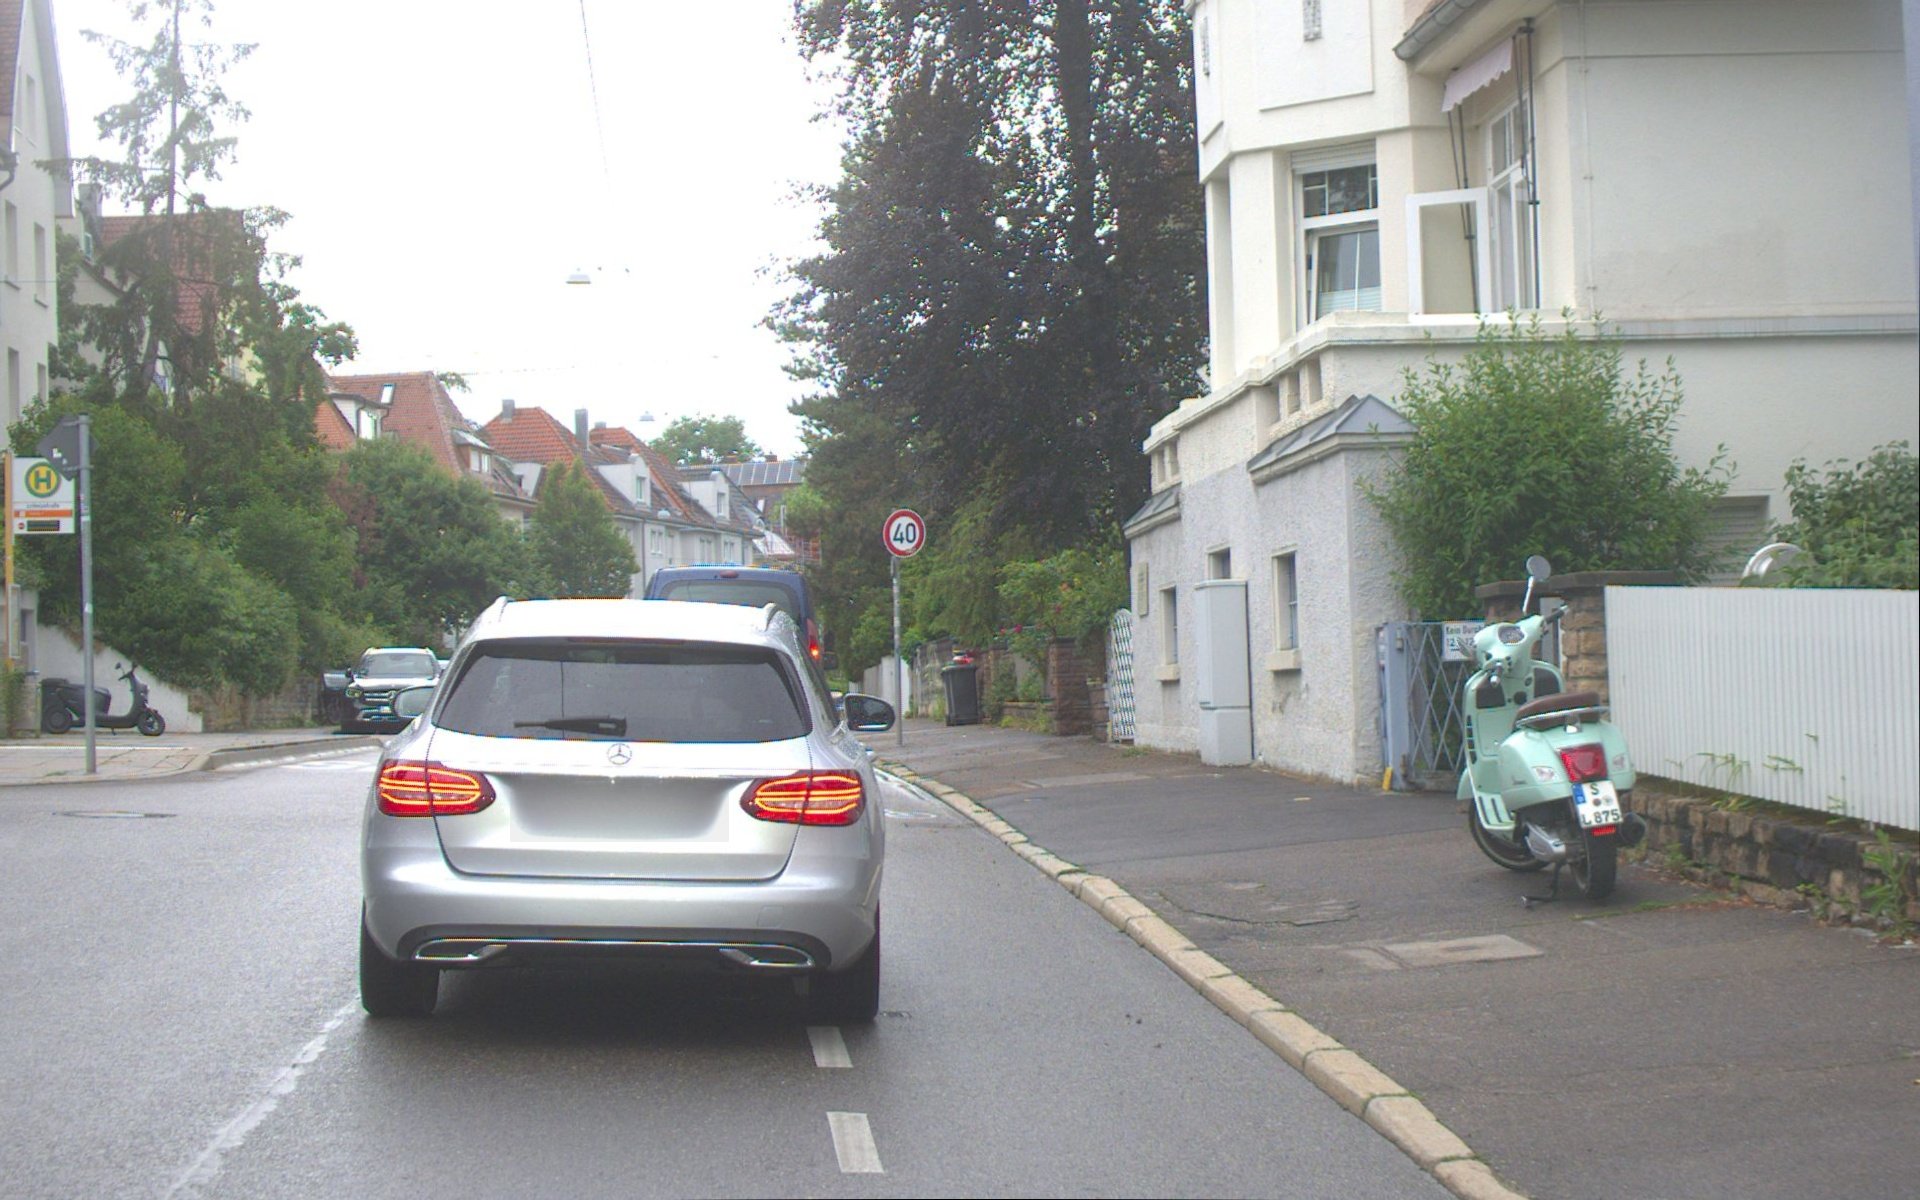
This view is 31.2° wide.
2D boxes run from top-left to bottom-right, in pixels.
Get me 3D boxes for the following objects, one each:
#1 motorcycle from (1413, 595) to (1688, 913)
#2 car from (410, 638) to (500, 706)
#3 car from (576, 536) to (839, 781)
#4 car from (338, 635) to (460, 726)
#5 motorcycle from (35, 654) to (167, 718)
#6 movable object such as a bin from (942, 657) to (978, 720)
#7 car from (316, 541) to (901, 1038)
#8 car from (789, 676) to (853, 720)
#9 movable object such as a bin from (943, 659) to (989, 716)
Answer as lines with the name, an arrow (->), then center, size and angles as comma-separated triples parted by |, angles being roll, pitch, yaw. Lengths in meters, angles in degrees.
motorcycle -> 2.549, 0.628, 15.099 | 0.693, 1.222, 2.153 | -7, 0, 0
car -> -11.434, 1.608, 78.079 | 1.755, 1.442, 4.417 | 0, 0, -5
car -> -2.034, 0.537, 28.730 | 1.843, 1.897, 3.999 | 0, -2, 1
car -> -10.305, 1.481, 63.377 | 1.893, 1.617, 4.379 | 0, -1, -5
motorcycle -> -12.791, 1.282, 51.212 | 1.794, 0.900, 0.603 | 2, -2, -5
movable object such as a bin -> -0.001, 1.368, 53.036 | 0.494, 0.952, 0.503 | 0, 0, -6
car -> -1.235, 0.603, 12.790 | 1.816, 1.551, 4.000 | 0, 0, -4
car -> -6.729, 4.768, 166.700 | 1.830, 2.049, 5.006 | 0, -2, 13
movable object such as a bin -> 0.097, 1.328, 52.455 | 0.650, 0.853, 0.503 | 0, 0, -6
